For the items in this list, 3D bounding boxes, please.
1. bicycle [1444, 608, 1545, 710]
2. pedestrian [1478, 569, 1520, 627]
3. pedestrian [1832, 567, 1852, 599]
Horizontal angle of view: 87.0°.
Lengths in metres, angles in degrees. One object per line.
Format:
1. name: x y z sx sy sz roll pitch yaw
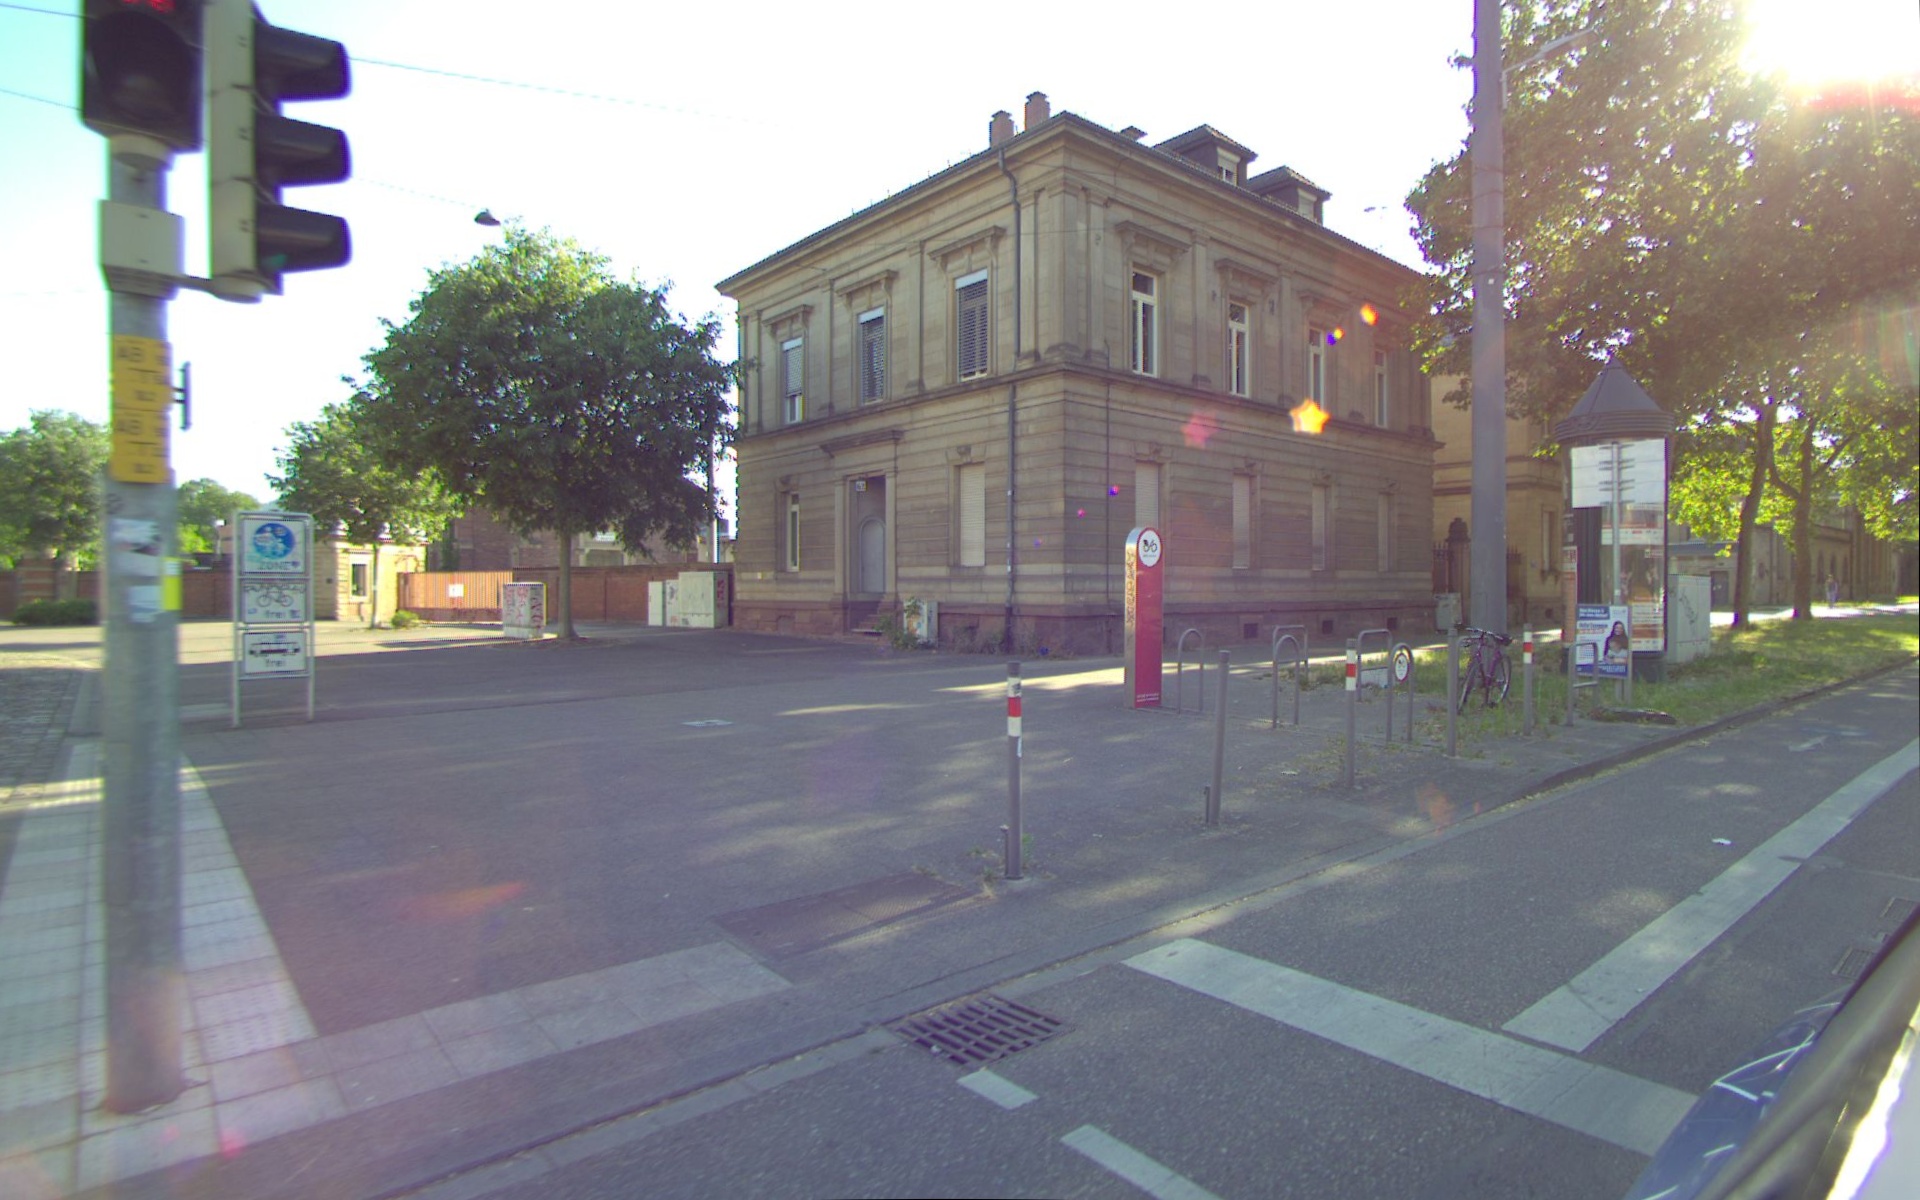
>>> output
1. bicycle: 6.249 0.644 11.792 1.742 1.075 0.540 -1 1 -45
2. pedestrian: 15.605 -0.069 29.295 0.969 1.626 0.771 0 1 -39
3. pedestrian: 46.701 -0.902 53.578 0.859 1.683 0.672 0 1 -39
